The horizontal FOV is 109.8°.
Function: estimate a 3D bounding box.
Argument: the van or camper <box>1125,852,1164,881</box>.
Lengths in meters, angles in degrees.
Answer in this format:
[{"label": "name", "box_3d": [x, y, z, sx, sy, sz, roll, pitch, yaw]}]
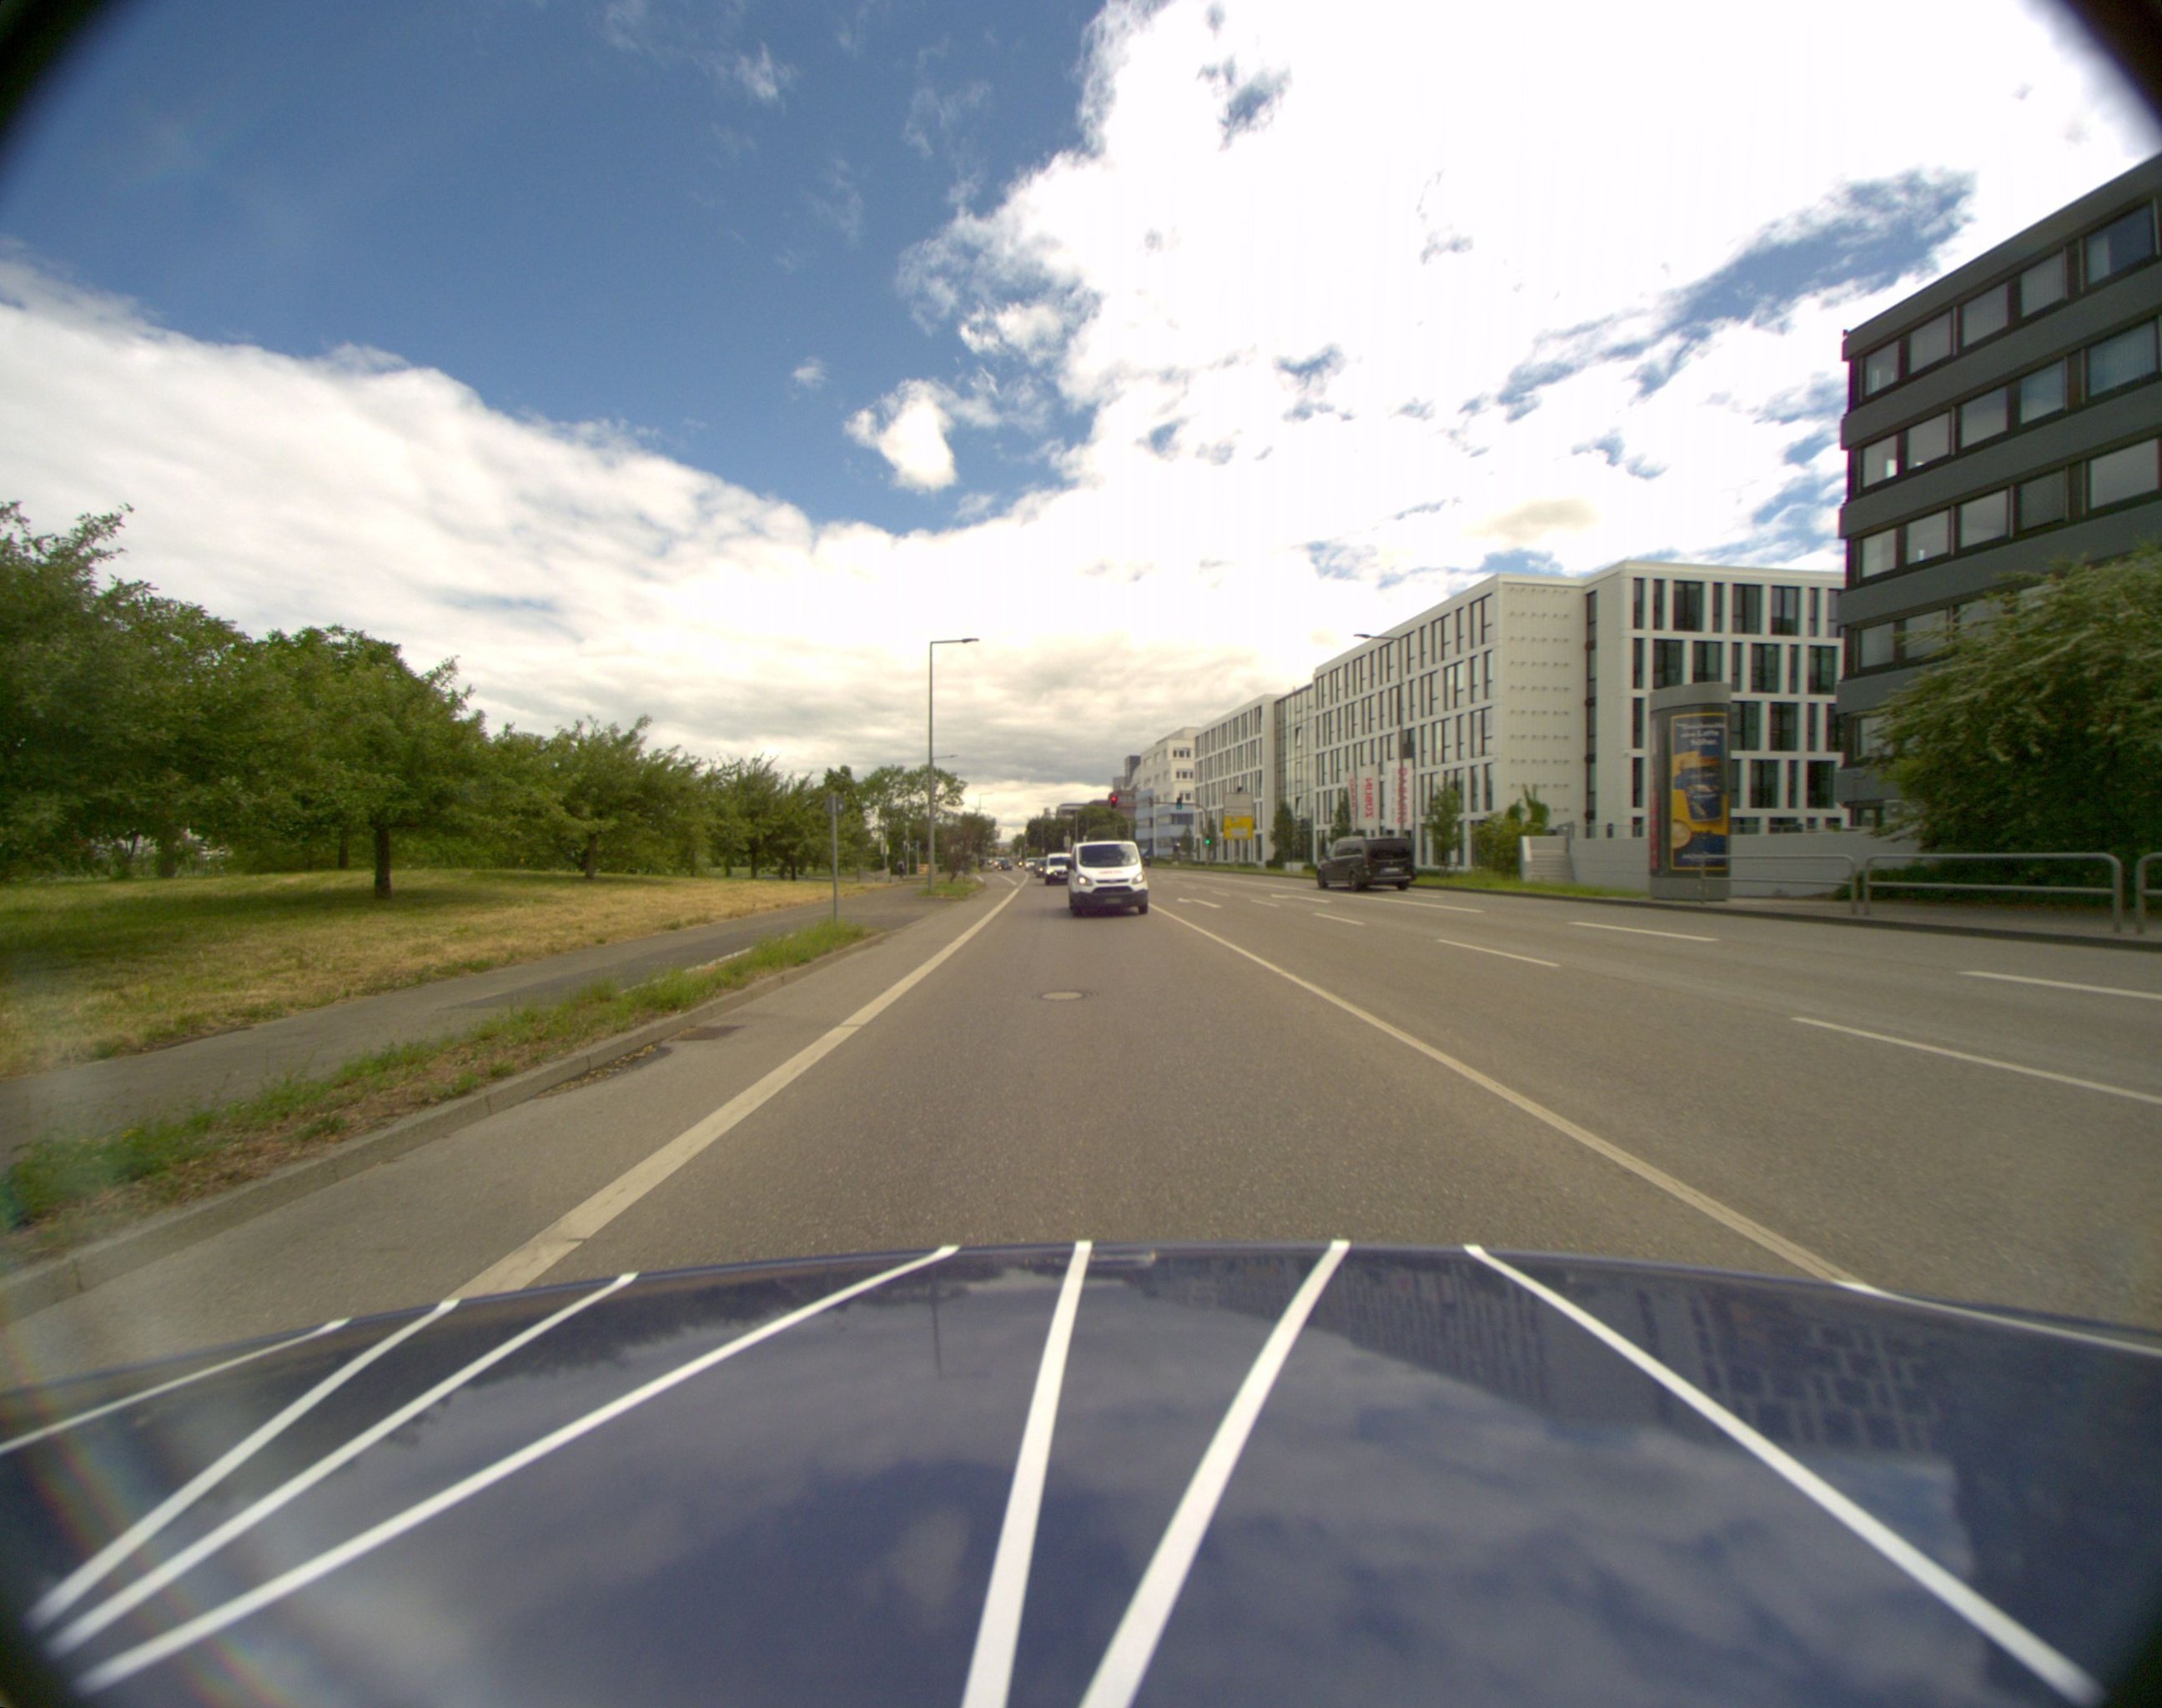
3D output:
[{"label": "van or camper", "box_3d": [3.760, 0.703, 45.787, 1.749, 1.600, 4.044, -2, 0, -3]}]

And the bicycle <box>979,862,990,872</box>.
[{"label": "bicycle", "box_3d": [-10.738, 1.434, 84.584, 1.017, 1.127, 2.673, 0, 0, -10]}]

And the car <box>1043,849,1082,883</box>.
[{"label": "car", "box_3d": [-1.117, 0.671, 44.002, 1.873, 1.836, 4.369, -2, 0, -5]}]

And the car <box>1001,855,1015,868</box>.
[{"label": "car", "box_3d": [-9.145, 0.929, 95.078, 1.736, 1.432, 4.366, -2, 0, -5]}]

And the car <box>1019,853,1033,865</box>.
[{"label": "car", "box_3d": [-8.213, 0.798, 113.192, 1.873, 1.685, 4.368, -2, 0, -7]}]

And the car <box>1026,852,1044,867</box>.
[{"label": "car", "box_3d": [-5.380, 0.629, 89.132, 1.873, 1.685, 4.369, -2, 0, -5]}]

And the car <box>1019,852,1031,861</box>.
[{"label": "car", "box_3d": [-10.997, 0.435, 148.604, 1.873, 1.685, 4.368, -2, 0, -8]}]

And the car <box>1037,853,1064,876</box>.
[{"label": "car", "box_3d": [-2.485, 0.823, 61.233, 1.873, 1.685, 4.369, -2, 0, -5]}]

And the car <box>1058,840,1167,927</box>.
[{"label": "car", "box_3d": [0.656, 0.695, 21.065, 2.123, 1.963, 6.203, -2, 0, -5]}]

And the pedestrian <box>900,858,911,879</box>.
[{"label": "pedestrian", "box_3d": [-16.251, 1.339, 70.414, 0.800, 1.872, 0.766, -2, 1, 2]}]

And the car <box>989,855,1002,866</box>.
[{"label": "car", "box_3d": [-12.587, 0.952, 112.227, 1.736, 1.432, 4.366, -2, 0, -5]}]

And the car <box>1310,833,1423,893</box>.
[{"label": "car", "box_3d": [10.330, 0.298, 28.023, 2.023, 1.936, 5.364, -1, 0, -1]}]

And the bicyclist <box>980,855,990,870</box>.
[{"label": "bicyclist", "box_3d": [-10.683, 0.949, 84.203, 1.017, 1.698, 1.200, 0, 0, -10]}]
